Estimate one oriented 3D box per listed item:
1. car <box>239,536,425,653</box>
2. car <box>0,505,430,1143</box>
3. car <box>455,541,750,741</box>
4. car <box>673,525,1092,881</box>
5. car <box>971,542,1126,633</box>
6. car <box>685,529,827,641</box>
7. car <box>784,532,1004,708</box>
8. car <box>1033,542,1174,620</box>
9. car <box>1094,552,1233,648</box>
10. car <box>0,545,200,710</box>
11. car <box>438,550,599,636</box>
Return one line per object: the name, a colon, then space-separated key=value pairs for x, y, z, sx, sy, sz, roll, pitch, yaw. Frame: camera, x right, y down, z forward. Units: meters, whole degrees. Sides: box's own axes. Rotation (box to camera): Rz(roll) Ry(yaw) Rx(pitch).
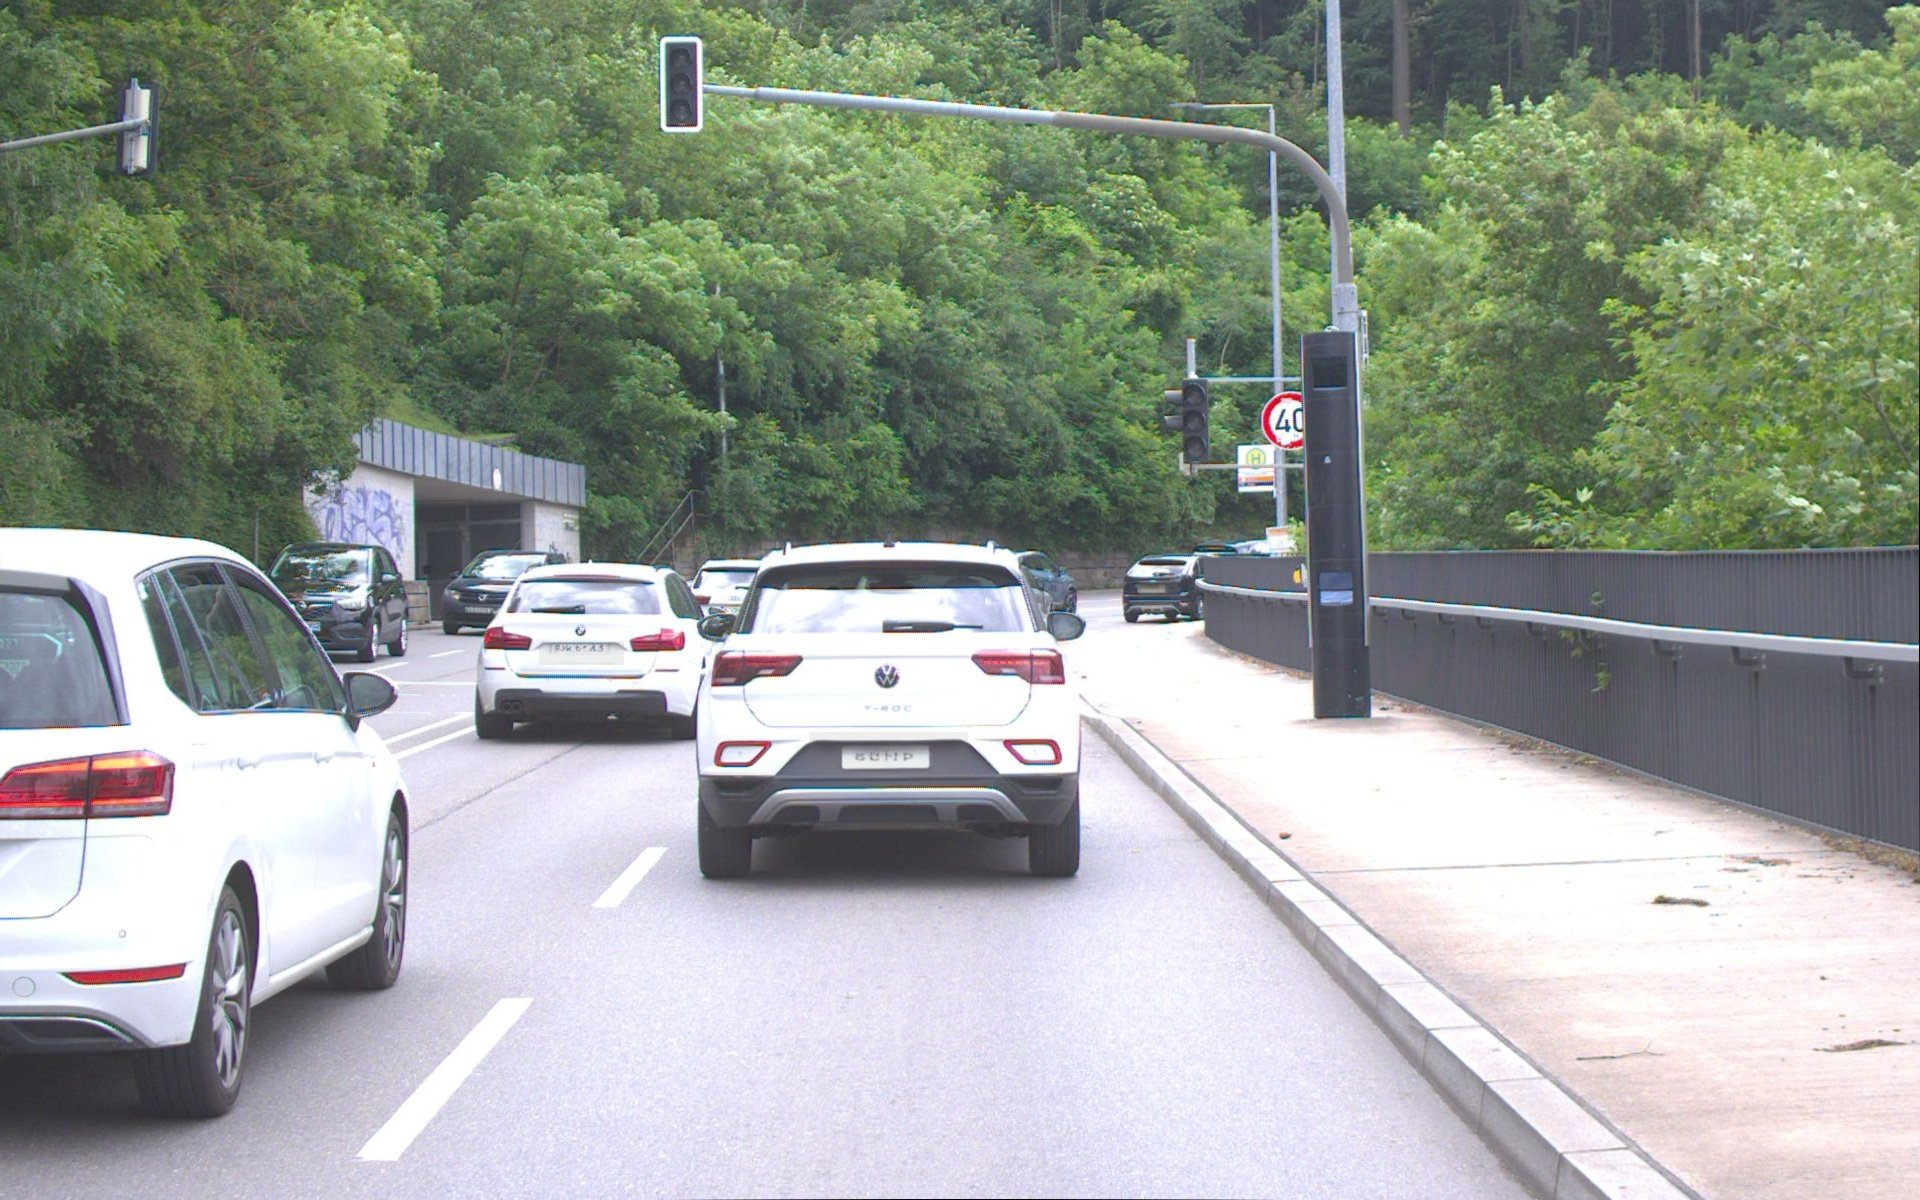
car: x=-8.569 y=-0.113 z=47.194 sx=1.781 sy=1.477 sz=4.212 roll=2 pitch=1 yaw=0
car: x=-2.768 y=0.516 z=10.484 sx=1.720 sy=1.549 sz=4.276 roll=0 pitch=1 yaw=-1
car: x=-2.981 y=0.294 z=29.619 sx=1.993 sy=1.552 sz=4.681 roll=1 pitch=1 yaw=1
car: x=-0.289 y=0.435 z=17.077 sx=1.814 sy=1.534 sz=4.008 roll=-1 pitch=0 yaw=2
car: x=1.608 y=-0.219 z=61.100 sx=2.033 sy=1.514 sz=4.198 roll=2 pitch=0 yaw=11
car: x=-3.051 y=-0.228 z=52.061 sx=1.862 sy=1.589 sz=4.000 roll=2 pitch=0 yaw=0
car: x=-0.686 y=0.208 z=39.003 sx=1.994 sy=1.837 sz=4.149 roll=2 pitch=0 yaw=5
car: x=3.545 y=-0.470 z=84.433 sx=1.996 sy=1.858 sz=3.994 roll=1 pitch=1 yaw=26
car: x=4.552 y=0.000 z=76.336 sx=1.995 sy=2.007 sz=3.996 roll=2 pitch=0 yaw=20
car: x=-9.111 y=0.252 z=34.677 sx=1.942 sy=1.543 sz=4.249 roll=-1 pitch=0 yaw=0
car: x=-7.867 y=-0.127 z=61.656 sx=1.813 sy=1.429 sz=4.247 roll=2 pitch=0 yaw=7
